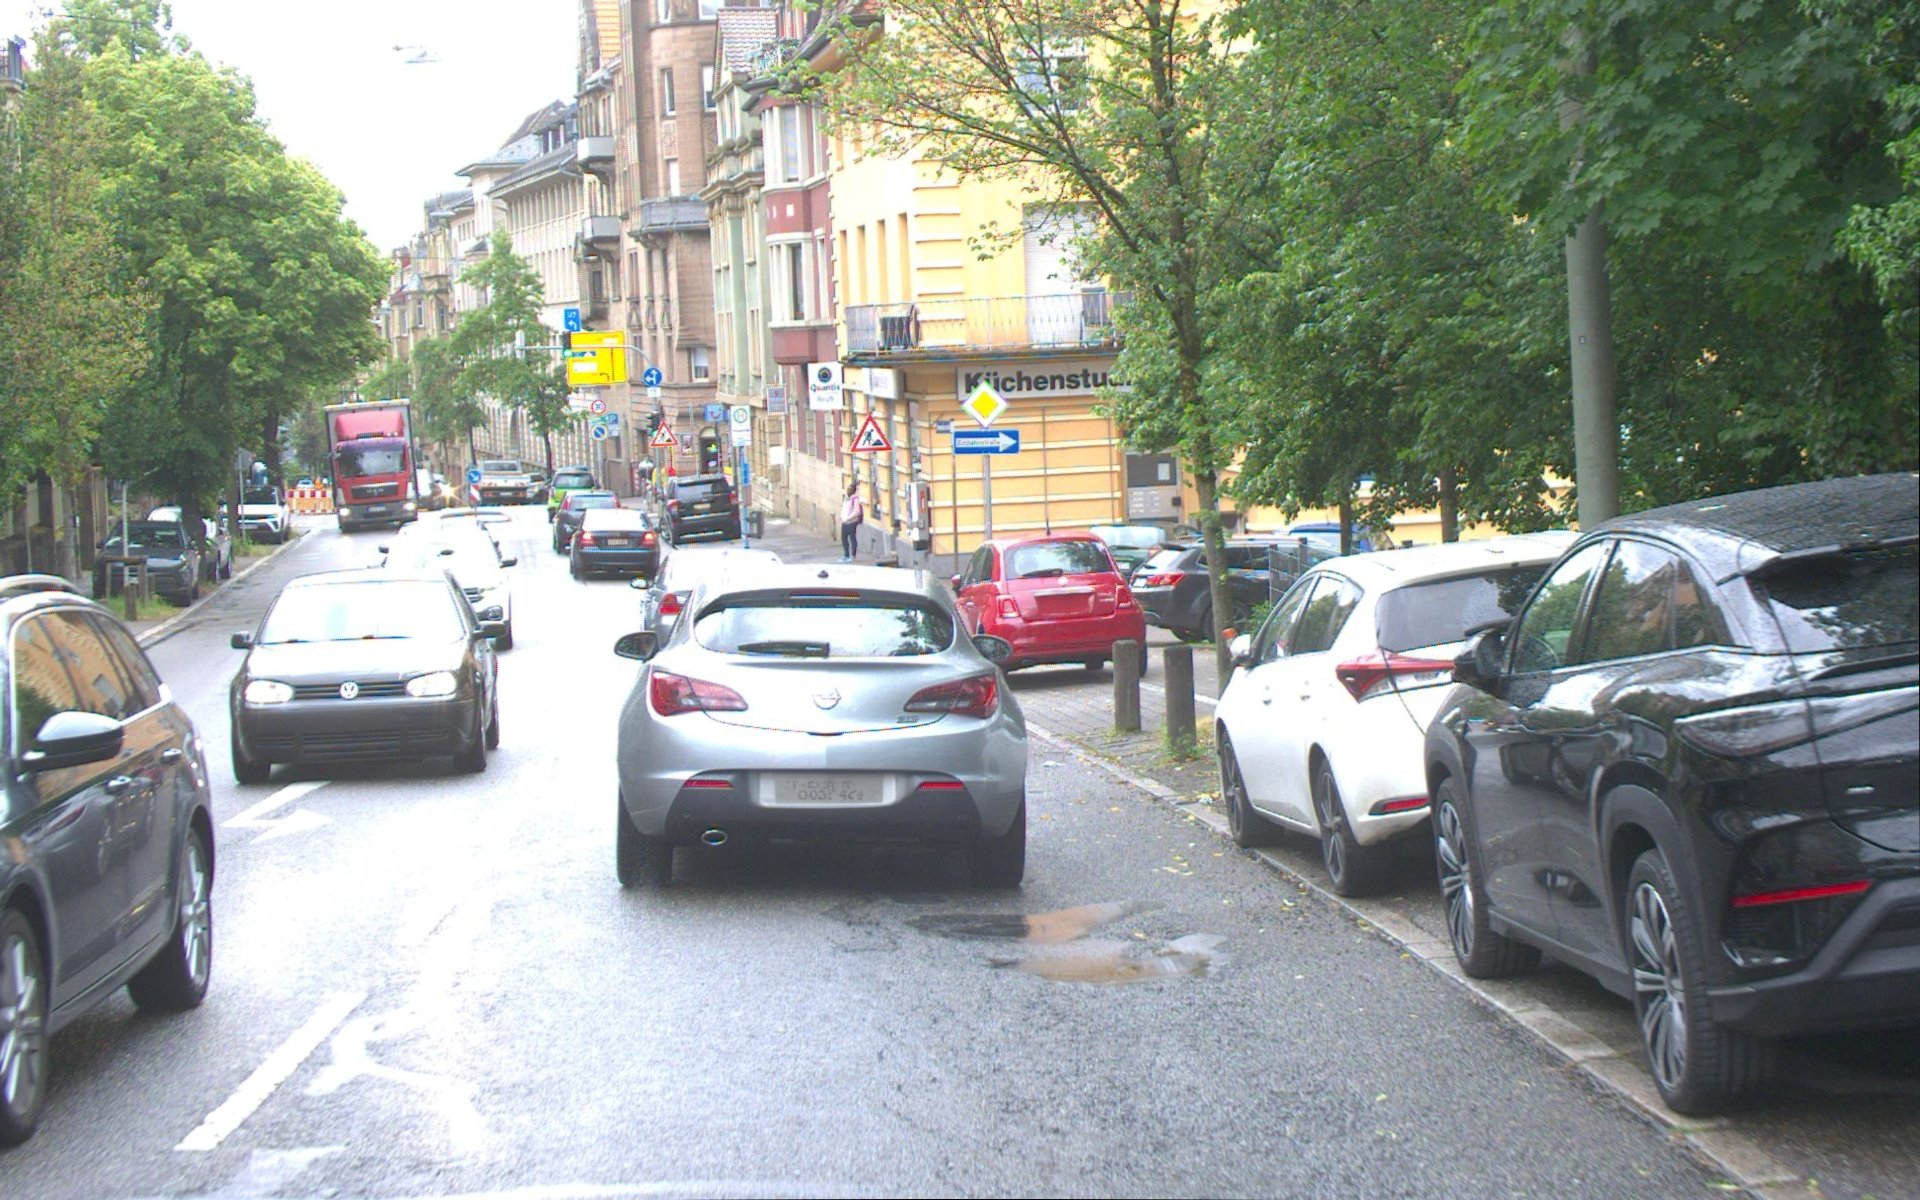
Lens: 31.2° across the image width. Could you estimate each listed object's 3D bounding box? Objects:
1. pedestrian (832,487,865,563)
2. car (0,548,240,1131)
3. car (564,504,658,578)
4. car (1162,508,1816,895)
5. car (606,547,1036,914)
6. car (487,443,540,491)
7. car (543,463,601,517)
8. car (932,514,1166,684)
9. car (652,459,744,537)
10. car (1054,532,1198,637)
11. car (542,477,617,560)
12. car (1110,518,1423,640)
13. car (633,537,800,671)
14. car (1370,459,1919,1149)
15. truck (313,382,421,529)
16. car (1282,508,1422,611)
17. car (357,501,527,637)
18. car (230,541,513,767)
[{"bbox_3d":[-2.260,-1.521,69.612,0.613,1.491,0.553,-2,4,-4],"label":"pedestrian"},{"bbox_3d":[-3.389,0.625,10.119,1.738,1.468,4.282,-2,1,-2],"label":"car"},{"bbox_3d":[-6.986,-1.196,68.568,1.767,1.410,3.718,1,1,-7],"label":"car"},{"bbox_3d":[2.307,0.405,16.196,1.975,1.447,4.115,-4,1,-6],"label":"car"},{"bbox_3d":[-0.713,0.527,16.705,1.814,1.425,4.001,-1,2,-4],"label":"car"},{"bbox_3d":[-18.436,-5.472,141.921,1.781,1.848,4.001,-1,1,-12],"label":"car"},{"bbox_3d":[-11.615,-3.279,102.777,1.640,1.531,3.718,-2,1,-7],"label":"car"},{"bbox_3d":[0.851,-0.028,35.358,1.814,1.462,4.001,-6,1,-5],"label":"car"},{"bbox_3d":[-6.592,-2.545,86.204,1.993,1.683,4.001,-7,2,-6],"label":"car"},{"bbox_3d":[2.572,-0.264,52.421,1.777,1.424,3.785,0,3,9],"label":"car"},{"bbox_3d":[-9.041,-1.950,81.473,1.640,1.683,3.719,-2,5,-7],"label":"car"},{"bbox_3d":[4.024,-0.275,45.462,3.772,1.425,1.782,2,0,-8],"label":"car"},{"bbox_3d":[-2.778,0.013,38.715,1.776,1.425,3.786,0,1,-5],"label":"car"},{"bbox_3d":[2.642,0.418,10.451,1.976,1.603,4.485,-4,1,-2],"label":"car"},{"bbox_3d":[-18.313,-4.592,106.592,2.788,4.117,10.856,-5,4,-9],"label":"truck"},{"bbox_3d":[6.174,-0.662,53.835,1.777,1.424,3.784,0,3,13],"label":"car"},{"bbox_3d":[-6.846,-0.448,45.777,1.822,1.645,4.001,-3,2,-4],"label":"car"},{"bbox_3d":[-4.189,0.342,24.957,1.660,1.443,3.994,-2,1,-5],"label":"car"}]
